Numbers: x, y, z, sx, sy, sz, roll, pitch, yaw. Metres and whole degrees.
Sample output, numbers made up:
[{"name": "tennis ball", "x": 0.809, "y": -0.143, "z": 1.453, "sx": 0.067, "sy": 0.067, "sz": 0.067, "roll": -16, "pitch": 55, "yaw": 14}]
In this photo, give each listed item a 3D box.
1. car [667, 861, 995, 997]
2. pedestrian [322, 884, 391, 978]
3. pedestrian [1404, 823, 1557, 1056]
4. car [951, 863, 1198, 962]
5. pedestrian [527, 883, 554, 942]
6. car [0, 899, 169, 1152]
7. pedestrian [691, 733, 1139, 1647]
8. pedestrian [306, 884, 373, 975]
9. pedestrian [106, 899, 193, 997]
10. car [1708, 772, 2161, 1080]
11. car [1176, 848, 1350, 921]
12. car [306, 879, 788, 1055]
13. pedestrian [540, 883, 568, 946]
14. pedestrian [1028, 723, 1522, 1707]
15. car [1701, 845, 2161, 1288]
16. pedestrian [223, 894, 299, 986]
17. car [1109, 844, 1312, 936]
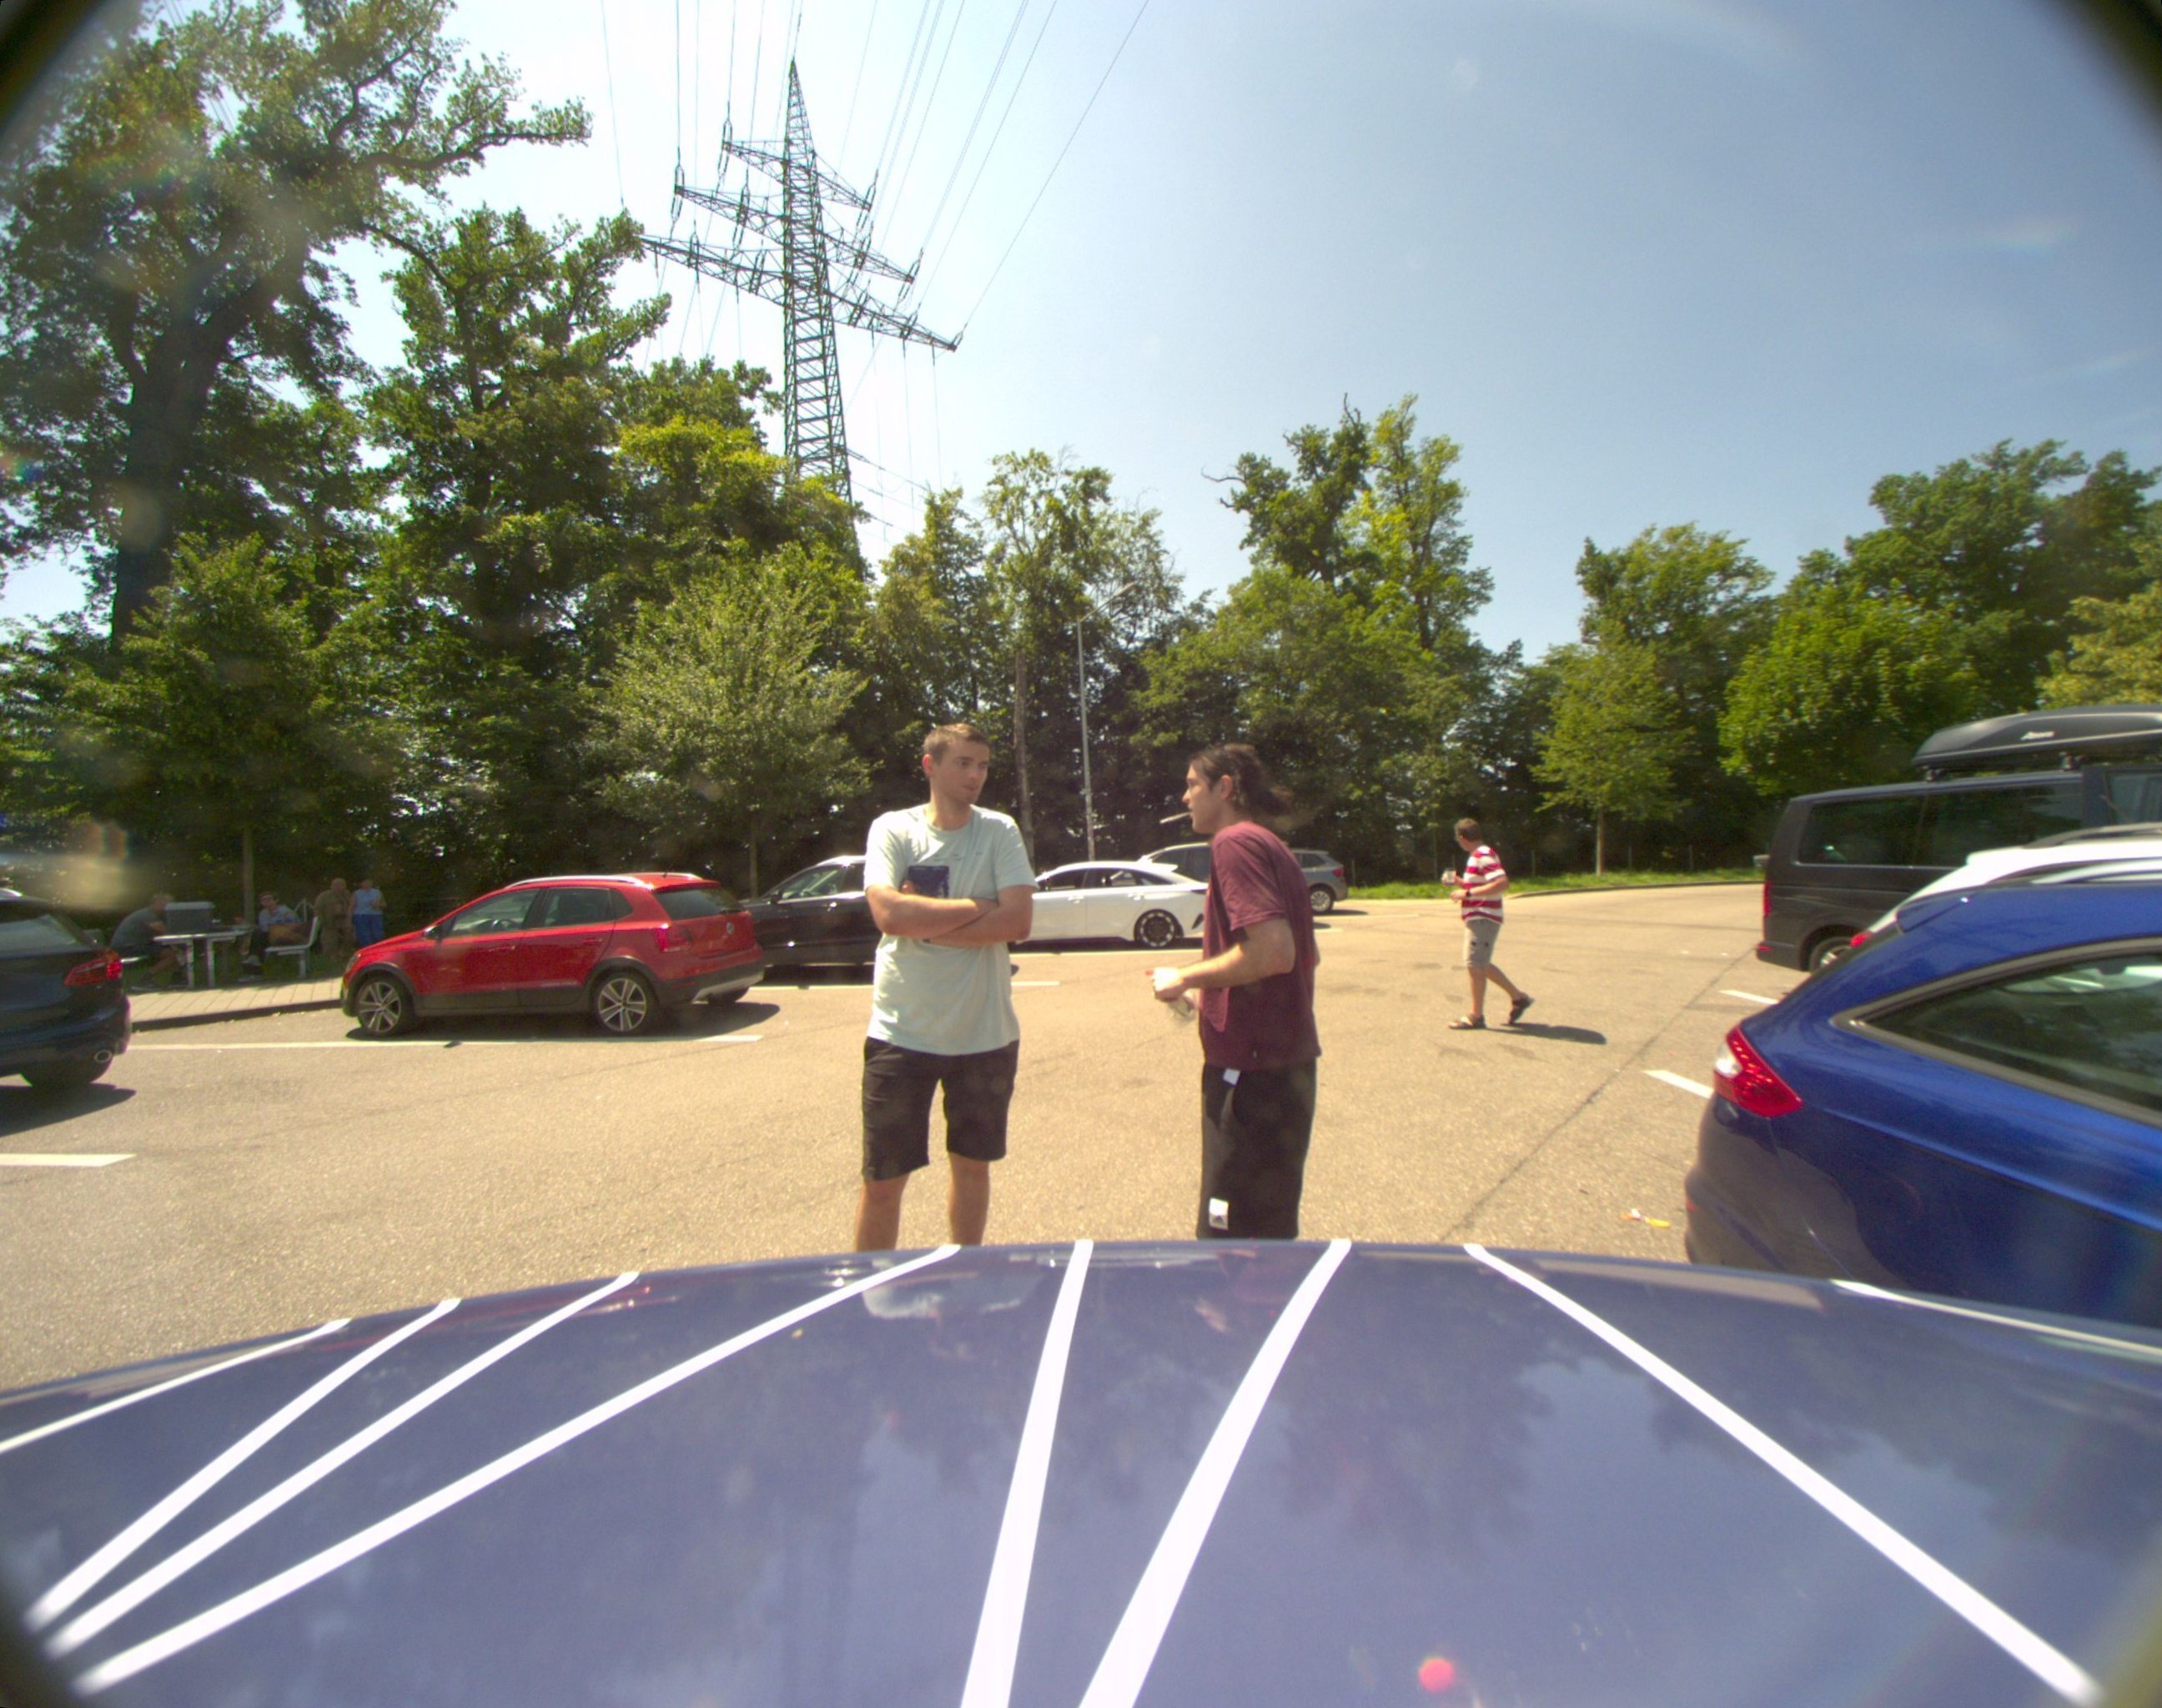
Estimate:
[{"name": "car", "x": -3.239, "y": 0.956, "z": 10.312, "sx": 3.825, "sy": 1.546, "sz": 1.651, "roll": -2, "pitch": 1, "yaw": 4}, {"name": "pedestrian", "x": -12.935, "y": 1.353, "z": 13.582, "sx": 0.571, "sy": 1.596, "sz": 0.648, "roll": -2, "pitch": 1, "yaw": 23}, {"name": "pedestrian", "x": 3.263, "y": 0.640, "z": 6.232, "sx": 0.786, "sy": 1.744, "sz": 0.753, "roll": -3, "pitch": 1, "yaw": -28}, {"name": "car", "x": -0.063, "y": 0.927, "z": 12.687, "sx": 3.825, "sy": 1.394, "sz": 1.651, "roll": -2, "pitch": 1, "yaw": 4}, {"name": "pedestrian", "x": -10.997, "y": 1.178, "z": 15.454, "sx": 0.357, "sy": 1.158, "sz": 0.384, "roll": -3, "pitch": 2, "yaw": -41}, {"name": "car", "x": -9.022, "y": 1.166, "z": 5.019, "sx": 4.338, "sy": 1.544, "sz": 1.749, "roll": -1, "pitch": 1, "yaw": 8}, {"name": "pedestrian", "x": -0.481, "y": 0.714, "z": 2.206, "sx": 0.918, "sy": 1.939, "sz": 0.815, "roll": -1, "pitch": 2, "yaw": 44}, {"name": "pedestrian", "x": -13.732, "y": 1.378, "z": 14.081, "sx": 0.571, "sy": 1.596, "sz": 0.648, "roll": -2, "pitch": 1, "yaw": 23}, {"name": "pedestrian", "x": -12.717, "y": 1.262, "z": 10.387, "sx": 0.595, "sy": 1.238, "sz": 0.446, "roll": -3, "pitch": 1, "yaw": -33}, {"name": "car", "x": 7.384, "y": 0.412, "z": 5.295, "sx": 1.758, "sy": 1.886, "sz": 4.571, "roll": -3, "pitch": -1, "yaw": -9}, {"name": "car", "x": 4.278, "y": 0.701, "z": 18.163, "sx": 3.822, "sy": 1.551, "sz": 1.652, "roll": -2, "pitch": 1, "yaw": 12}, {"name": "car", "x": -5.221, "y": 1.084, "z": 7.684, "sx": 3.823, "sy": 1.460, "sz": 1.651, "roll": -2, "pitch": 1, "yaw": 8}, {"name": "pedestrian", "x": -10.152, "y": 1.155, "z": 14.638, "sx": 0.357, "sy": 1.158, "sz": 0.384, "roll": -3, "pitch": 2, "yaw": -41}, {"name": "pedestrian", "x": 0.477, "y": 0.712, "z": 1.942, "sx": 0.919, "sy": 1.894, "sz": 0.815, "roll": -2, "pitch": 1, "yaw": 16}, {"name": "car", "x": 4.655, "y": 0.726, "z": 2.264, "sx": 1.757, "sy": 1.496, "sz": 4.574, "roll": -3, "pitch": -1, "yaw": -1}, {"name": "pedestrian", "x": -11.850, "y": 1.222, "z": 11.001, "sx": 0.595, "sy": 1.238, "sz": 0.499, "roll": -3, "pitch": 1, "yaw": -33}, {"name": "car", "x": 2.619, "y": 0.705, "z": 15.468, "sx": 3.822, "sy": 1.686, "sz": 1.652, "roll": -2, "pitch": 1, "yaw": 12}]
